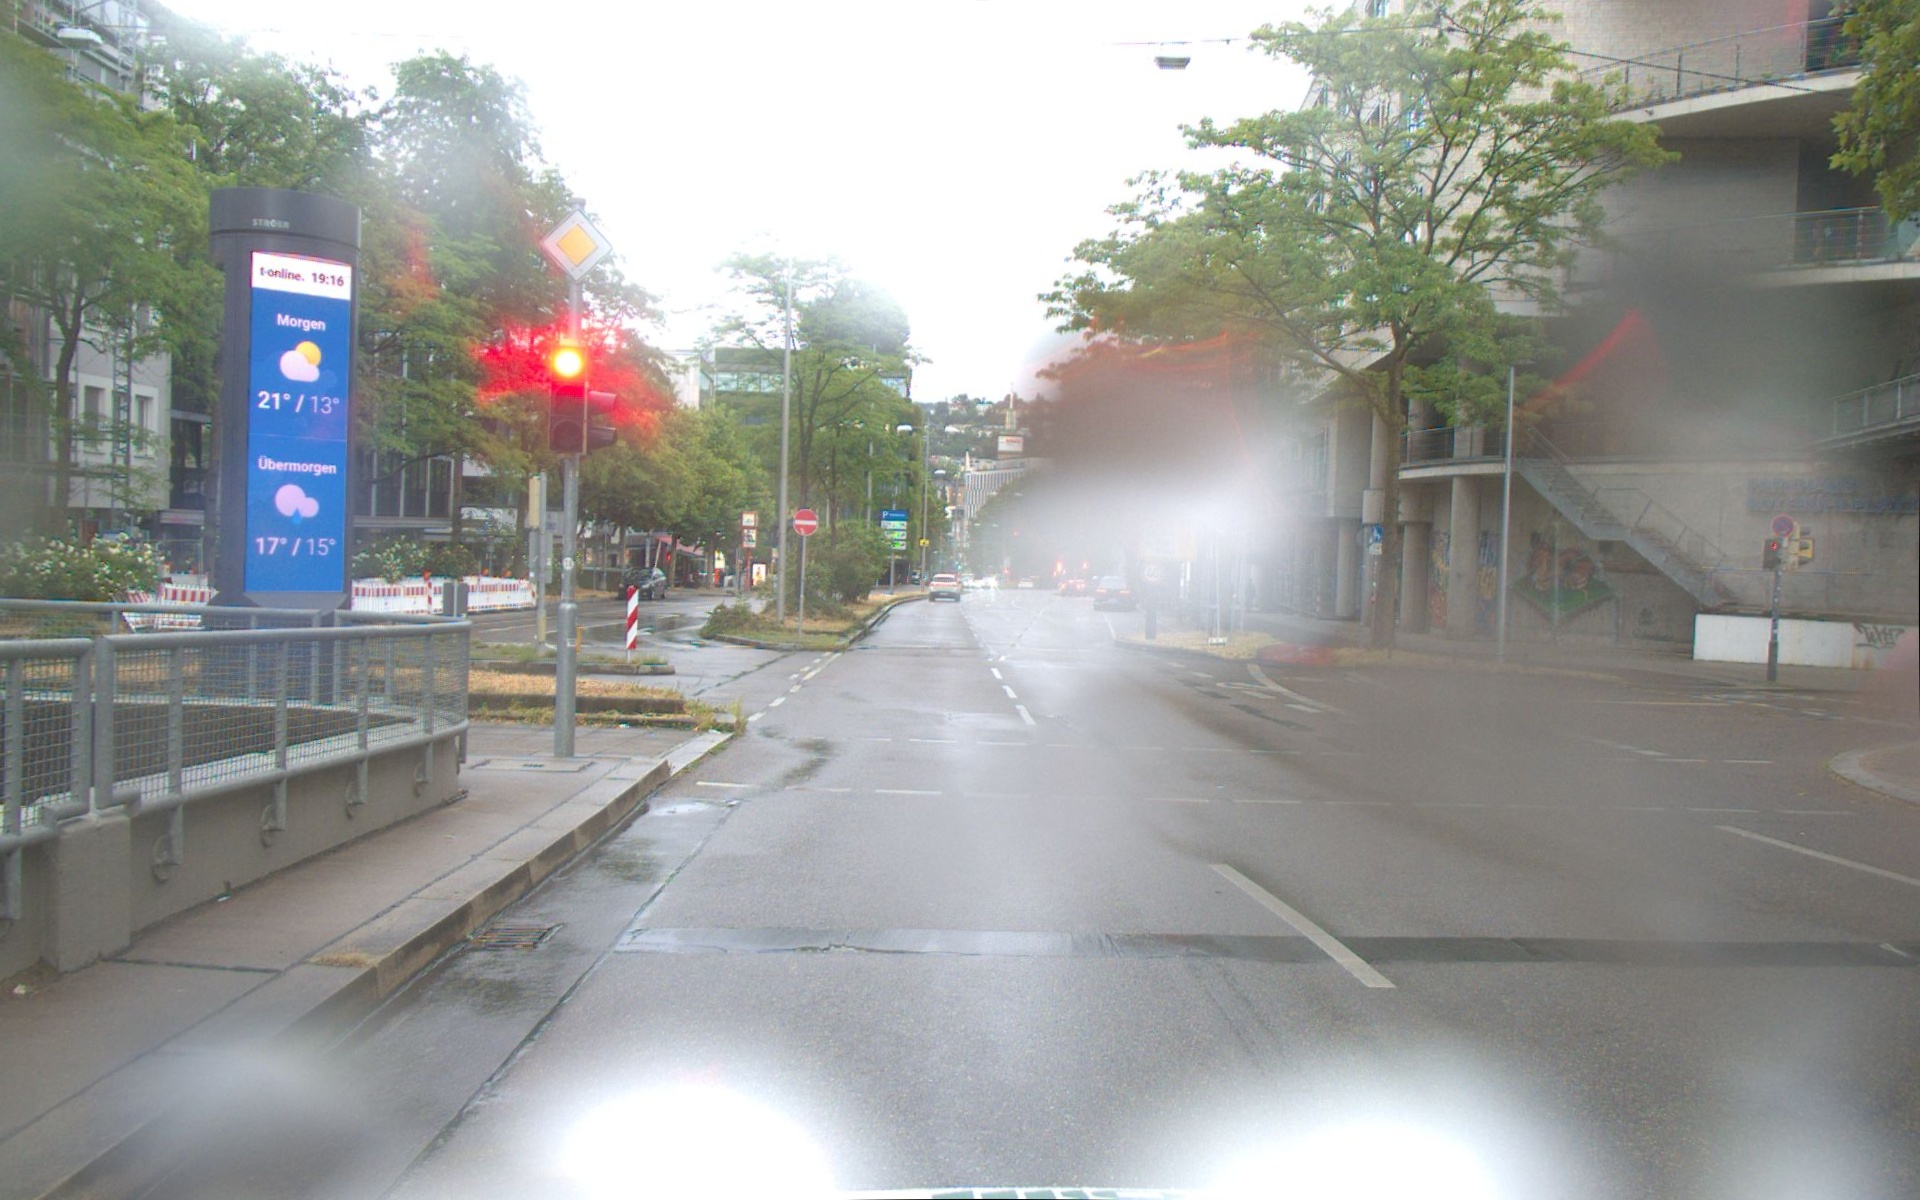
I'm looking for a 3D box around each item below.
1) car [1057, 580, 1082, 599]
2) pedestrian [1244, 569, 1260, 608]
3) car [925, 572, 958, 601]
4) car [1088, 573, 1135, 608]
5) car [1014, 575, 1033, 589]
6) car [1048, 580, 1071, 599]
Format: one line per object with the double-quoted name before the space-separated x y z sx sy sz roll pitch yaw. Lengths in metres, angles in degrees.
"car" 10.321 -0.990 155.885 1.953 1.754 3.999 1 0 -2
"pedestrian" 15.131 -0.595 85.725 0.759 1.954 0.703 1 -1 9
"car" -1.139 -0.829 101.588 1.792 1.668 4.298 2 0 -3
"car" 7.671 -0.494 83.543 2.288 1.720 4.003 1 1 6
"car" 8.360 -2.351 218.532 1.955 1.789 3.995 2 0 -6
"car" 10.032 -1.057 166.965 1.953 1.766 3.999 1 0 -1
